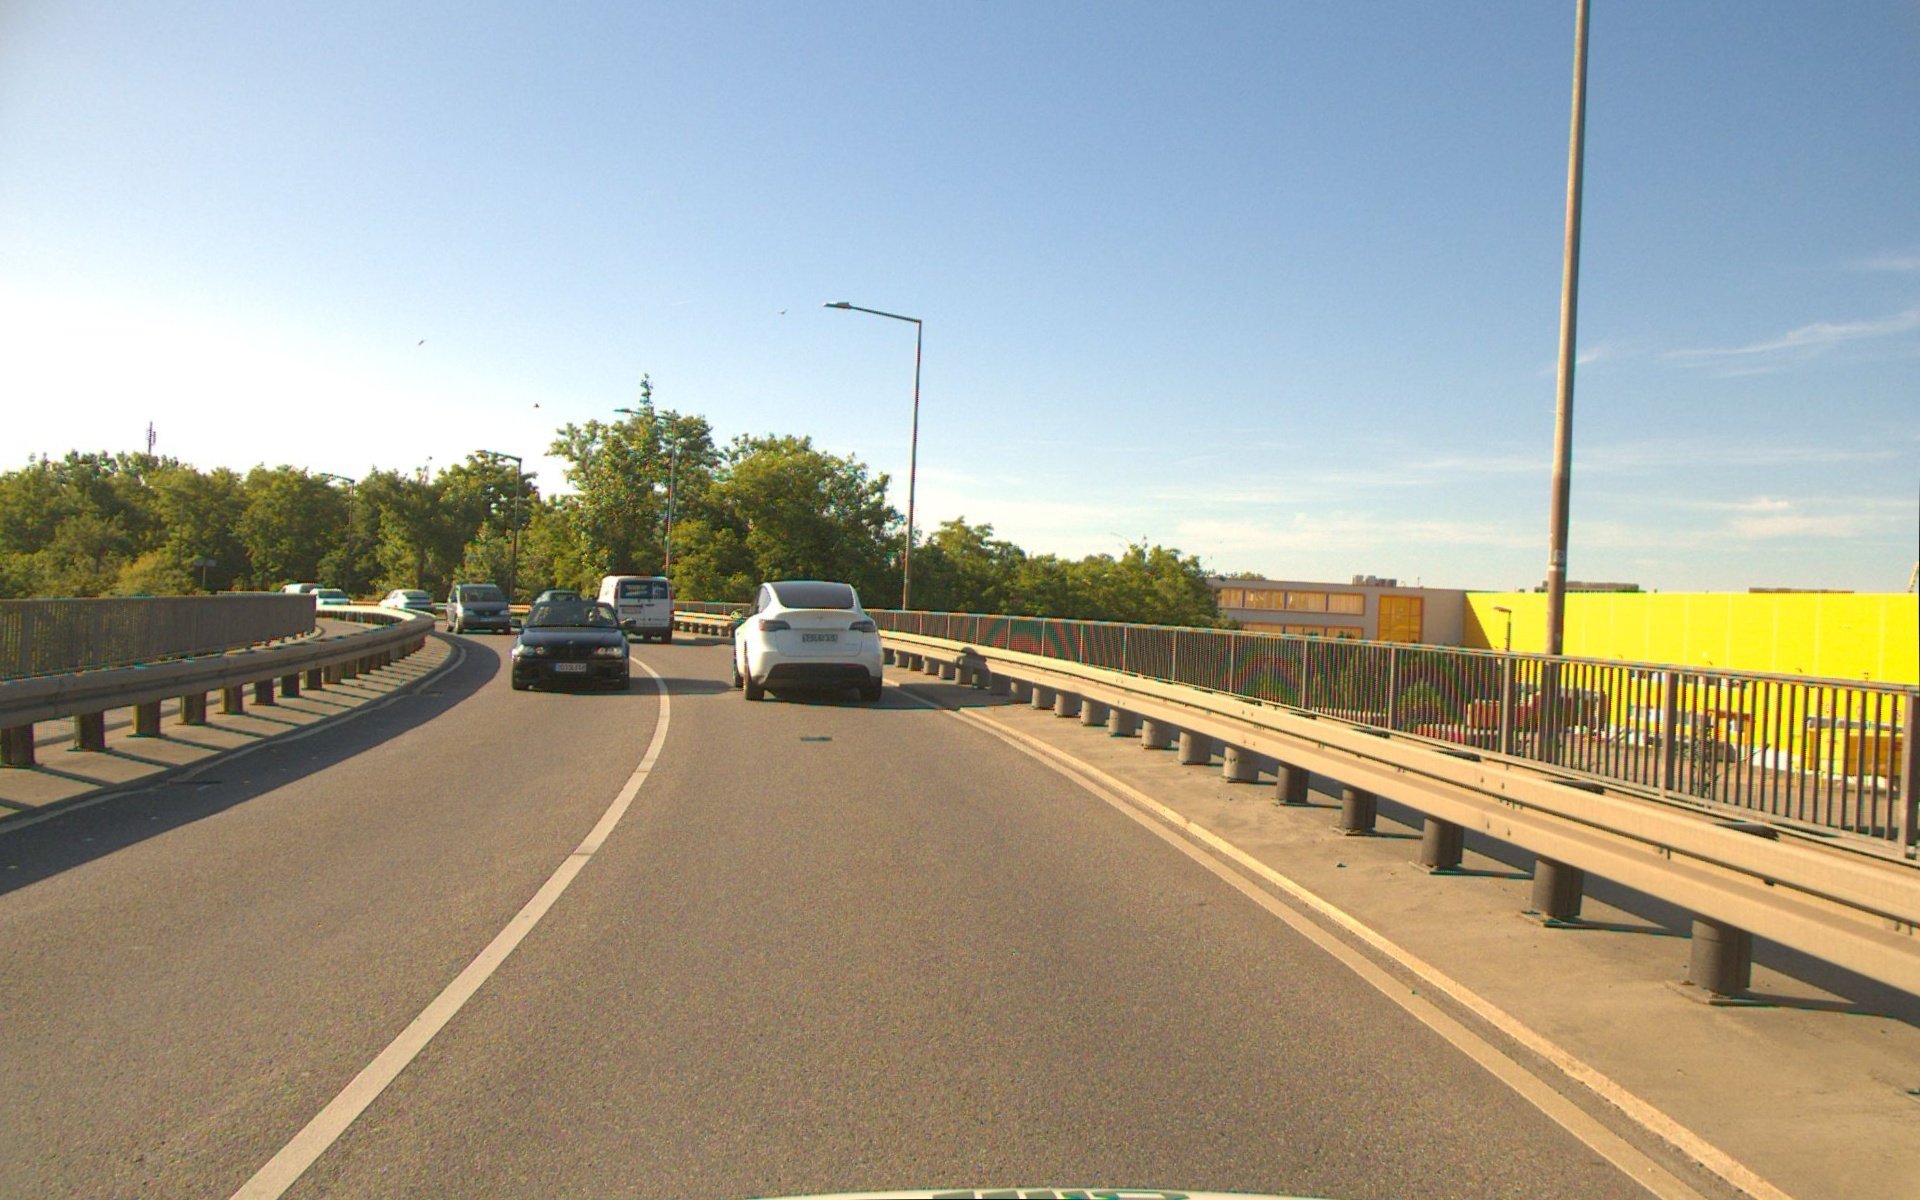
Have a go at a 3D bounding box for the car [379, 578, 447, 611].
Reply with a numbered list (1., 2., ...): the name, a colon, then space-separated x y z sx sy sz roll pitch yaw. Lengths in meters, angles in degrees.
1. car: -27.488 -0.286 83.096 1.850 1.612 3.853 0 1 -43

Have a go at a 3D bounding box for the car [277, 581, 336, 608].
1. car: -38.436 -0.346 97.227 3.828 1.583 1.828 1 1 45

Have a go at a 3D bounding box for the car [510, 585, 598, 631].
1. car: -15.407 0.308 62.658 1.953 1.666 3.950 -1 0 -35

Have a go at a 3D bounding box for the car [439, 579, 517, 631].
1. car: -16.197 0.138 55.455 1.827 1.651 4.067 0 0 -27

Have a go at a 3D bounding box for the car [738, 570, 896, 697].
1. car: -2.158 0.453 23.904 1.949 1.666 4.053 1 0 -10

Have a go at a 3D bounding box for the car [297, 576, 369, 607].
1. car: -31.565 -0.430 83.234 3.700 1.545 1.833 1 1 40

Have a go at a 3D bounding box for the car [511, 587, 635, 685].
1. car: -5.945 0.501 25.768 1.714 1.379 4.171 0 0 -11

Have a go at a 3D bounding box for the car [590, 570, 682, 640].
1. car: -9.535 0.119 48.462 1.976 1.974 4.440 0 0 -20
